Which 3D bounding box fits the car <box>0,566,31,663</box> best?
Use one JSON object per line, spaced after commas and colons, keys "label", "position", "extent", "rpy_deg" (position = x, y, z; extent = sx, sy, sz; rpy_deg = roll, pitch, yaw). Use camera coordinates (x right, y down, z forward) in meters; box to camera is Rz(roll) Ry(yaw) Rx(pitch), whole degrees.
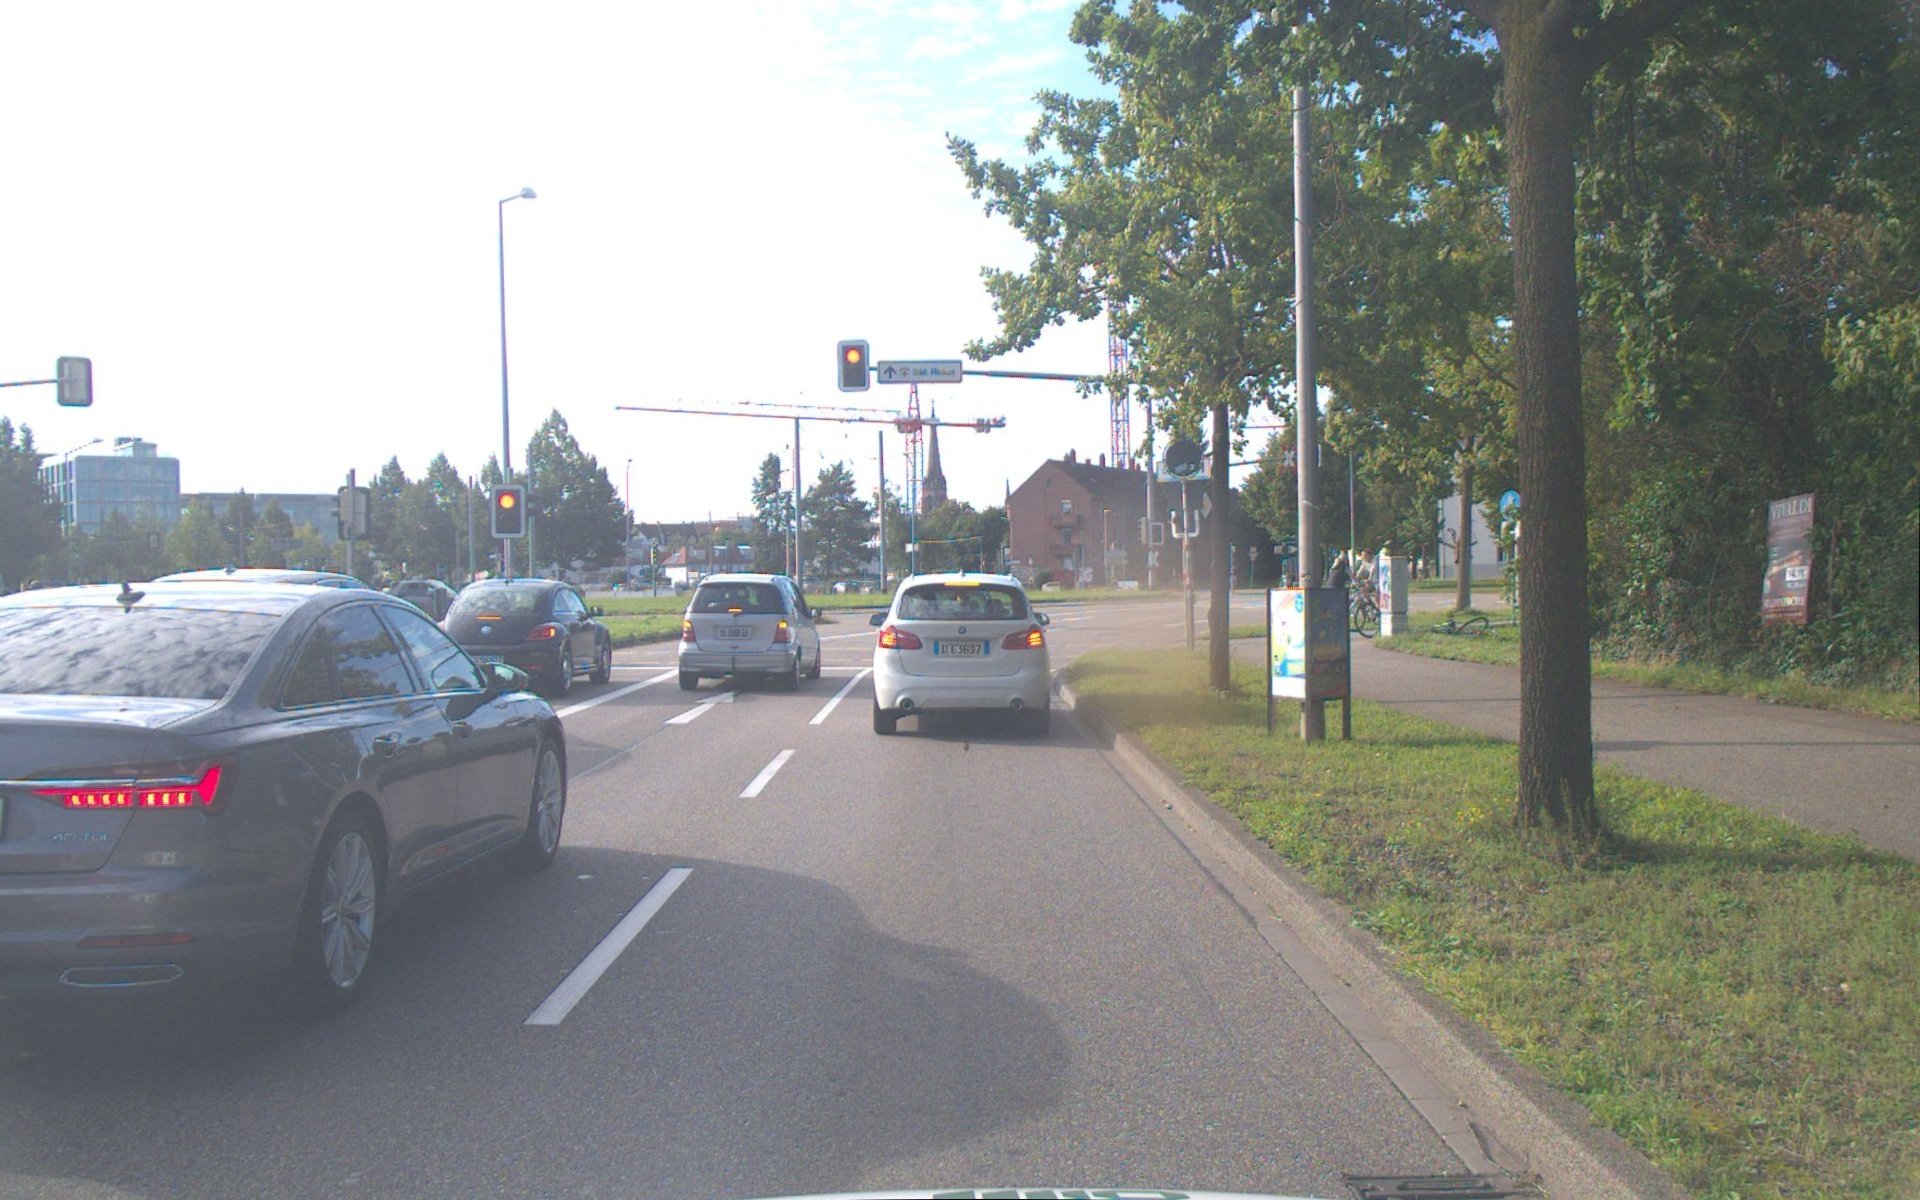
{"label": "car", "position": [-24.275, 0.397, 40.509], "extent": [1.967, 2.274, 5.881], "rpy_deg": [-3, 1, -24]}

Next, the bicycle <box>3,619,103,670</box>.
{"label": "bicycle", "position": [-18.464, 0.898, 33.686], "extent": [1.642, 0.984, 0.643], "rpy_deg": [-1, 0, -6]}

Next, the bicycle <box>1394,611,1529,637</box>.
{"label": "bicycle", "position": [9.393, 0.446, 31.122], "extent": [1.382, 0.392, 2.569], "rpy_deg": [-2, 1, -12]}

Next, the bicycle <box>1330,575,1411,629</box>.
{"label": "bicycle", "position": [9.322, 0.033, 37.552], "extent": [1.698, 1.184, 0.653], "rpy_deg": [-1, 0, -17]}

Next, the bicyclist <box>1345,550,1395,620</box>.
{"label": "bicyclist", "position": [9.302, -0.349, 37.538], "extent": [0.835, 1.553, 0.737], "rpy_deg": [-1, 0, -17]}

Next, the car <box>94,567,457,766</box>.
{"label": "car", "position": [-6.066, 0.509, 15.195], "extent": [1.694, 1.585, 4.018], "rpy_deg": [0, 1, -1]}

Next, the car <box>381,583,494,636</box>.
{"label": "car", "position": [-16.473, 0.309, 52.262], "extent": [3.127, 1.601, 1.572], "rpy_deg": [-1, -1, -7]}

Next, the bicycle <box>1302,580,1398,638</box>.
{"label": "bicycle", "position": [7.956, 0.183, 33.719], "extent": [1.740, 1.068, 0.708], "rpy_deg": [-3, 1, -13]}

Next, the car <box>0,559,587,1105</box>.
{"label": "car", "position": [-2.963, 0.630, 6.874], "extent": [1.851, 1.509, 4.612], "rpy_deg": [0, 0, -1]}

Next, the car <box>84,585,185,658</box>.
{"label": "car", "position": [-19.931, 0.502, 40.059], "extent": [1.680, 1.600, 3.976], "rpy_deg": [-3, 1, -20]}

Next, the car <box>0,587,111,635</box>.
{"label": "car", "position": [-41.198, 0.485, 75.336], "extent": [1.786, 2.049, 4.232], "rpy_deg": [-2, -1, 26]}

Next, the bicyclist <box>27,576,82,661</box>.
{"label": "bicyclist", "position": [-18.440, 0.366, 33.695], "extent": [0.772, 1.697, 0.549], "rpy_deg": [-1, 0, -5]}

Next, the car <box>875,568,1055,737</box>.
{"label": "car", "position": [0.012, 0.472, 17.634], "extent": [1.694, 1.585, 4.057], "rpy_deg": [0, 1, -1]}

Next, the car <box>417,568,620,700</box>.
{"label": "car", "position": [-5.767, 0.377, 22.062], "extent": [1.686, 1.592, 3.877], "rpy_deg": [1, 1, 0]}

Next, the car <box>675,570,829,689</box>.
{"label": "car", "position": [-2.932, 0.370, 24.081], "extent": [1.694, 1.585, 4.058], "rpy_deg": [0, 1, 0]}

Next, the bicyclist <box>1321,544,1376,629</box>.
{"label": "bicyclist", "position": [7.907, -0.278, 33.701], "extent": [0.815, 1.676, 0.683], "rpy_deg": [-3, 0, -13]}
